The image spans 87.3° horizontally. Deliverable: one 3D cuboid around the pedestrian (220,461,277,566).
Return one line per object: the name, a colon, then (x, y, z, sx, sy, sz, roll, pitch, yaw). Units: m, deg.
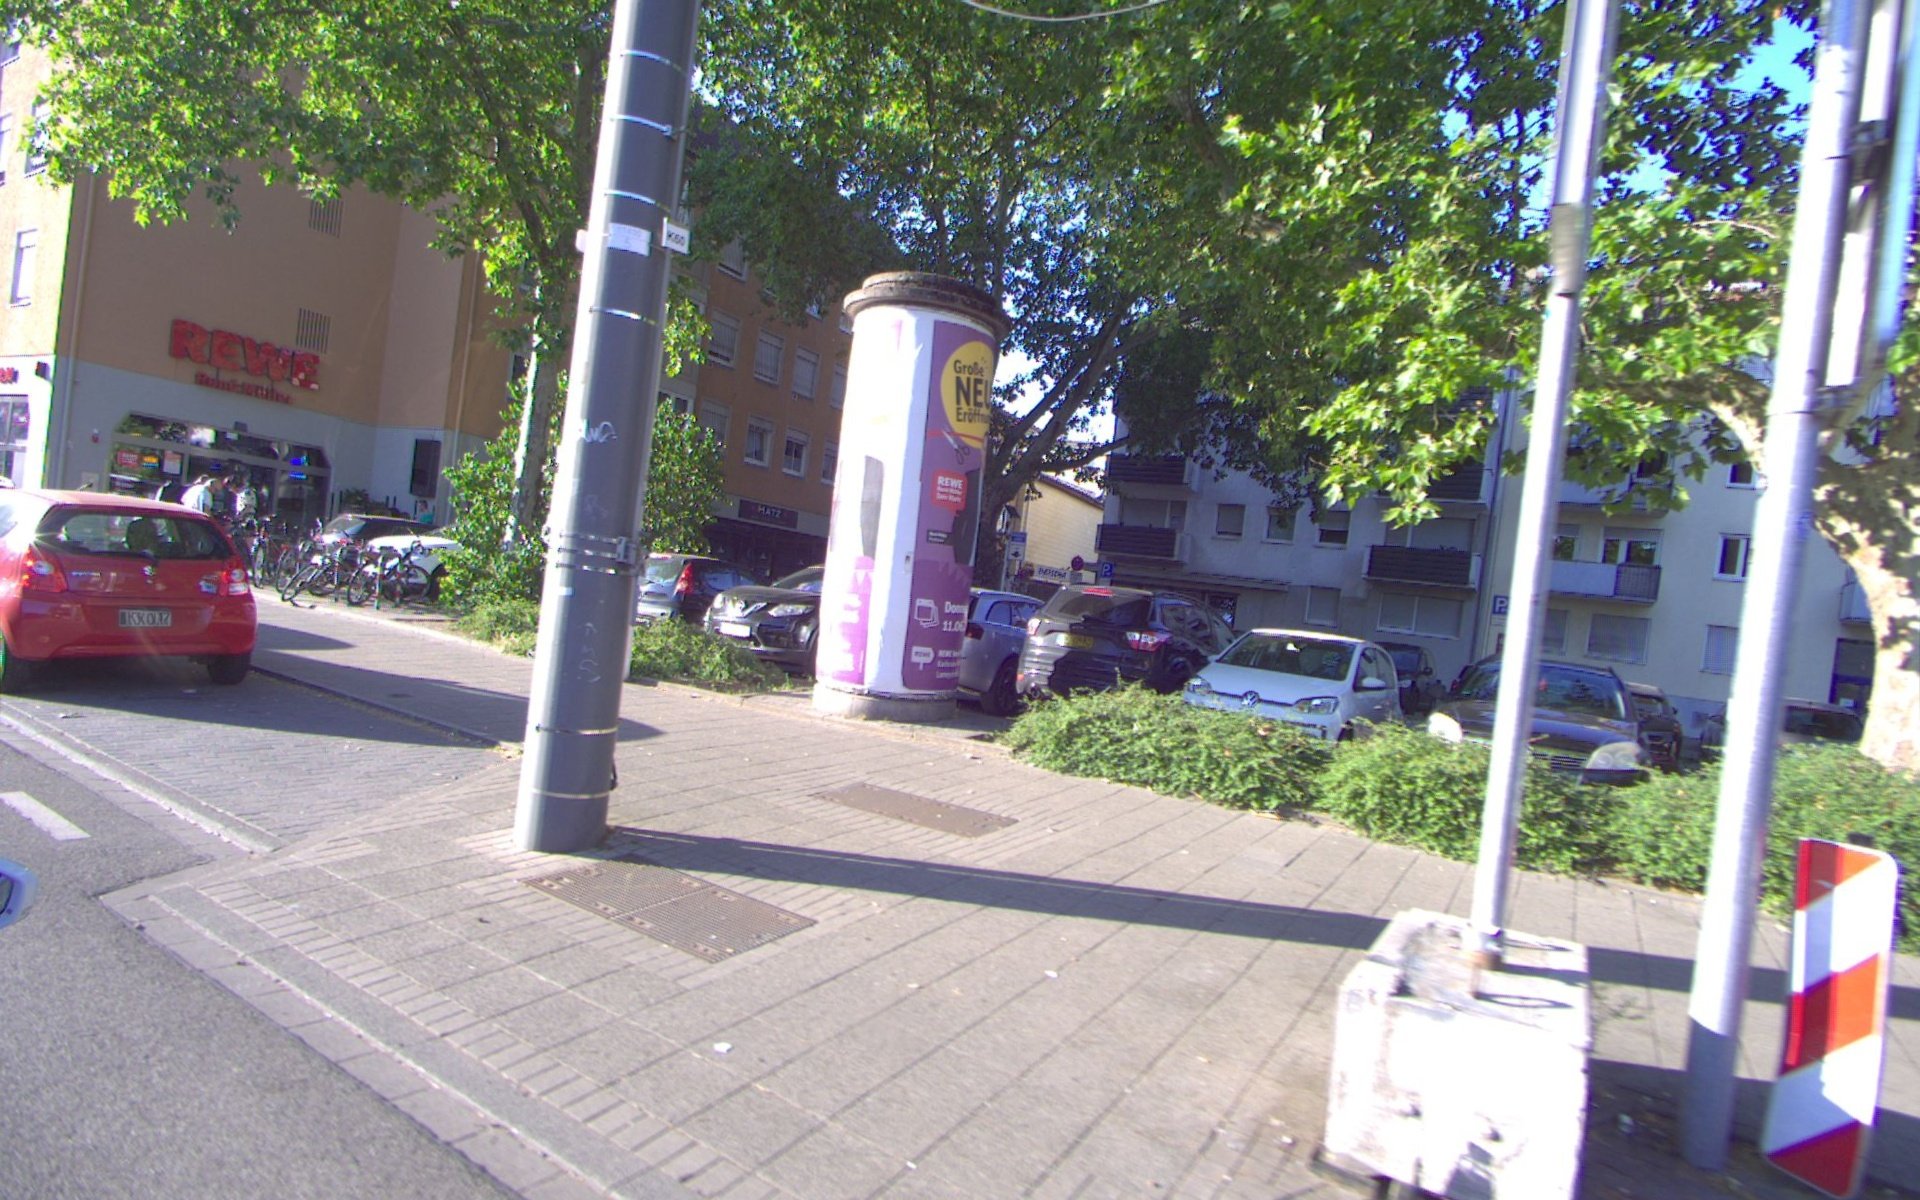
pedestrian: (-12.858, -1.547, 18.178, 0.639, 1.807, 0.528, 8, 5, 25)

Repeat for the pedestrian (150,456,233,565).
pedestrian: (-12.632, -1.470, 16.533, 0.972, 1.659, 0.659, 8, 5, 25)

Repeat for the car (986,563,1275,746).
car: (2.187, 0.714, 11.954, 1.826, 1.650, 3.846, 7, -2, 34)

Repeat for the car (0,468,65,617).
car: (-12.196, -0.847, 11.484, 4.574, 1.552, 1.697, 7, 3, 31)

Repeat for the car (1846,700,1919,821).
car: (15.772, 2.596, 15.613, 1.966, 1.712, 4.289, 7, 0, 29)

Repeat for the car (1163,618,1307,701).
car: (6.505, 1.409, 23.469, 1.967, 1.553, 4.053, 7, 0, 33)

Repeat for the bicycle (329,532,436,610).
bicycle: (-8.574, -0.421, 15.015, 0.640, 1.026, 1.678, 7, 0, -5)

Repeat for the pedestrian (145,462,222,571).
pedestrian: (-13.564, -1.448, 17.581, 0.756, 1.776, 0.805, 9, 5, 33)

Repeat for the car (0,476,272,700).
car: (-7.589, -0.225, 8.500, 3.566, 1.514, 1.570, 7, 2, 32)

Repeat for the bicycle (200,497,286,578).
bicycle: (-11.921, -1.009, 16.769, 0.396, 1.242, 1.518, 7, 1, -7)

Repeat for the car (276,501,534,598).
car: (-10.976, -0.952, 20.177, 1.967, 1.449, 4.018, 4, -2, 32)

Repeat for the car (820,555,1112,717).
car: (0.239, 0.554, 12.989, 1.826, 1.511, 3.848, 7, -3, 34)

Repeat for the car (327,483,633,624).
car: (-8.648, -0.759, 18.595, 1.967, 1.728, 4.629, 7, -3, 32)

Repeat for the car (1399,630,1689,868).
car: (5.541, 1.229, 9.449, 1.773, 1.514, 4.114, 7, 0, 34)

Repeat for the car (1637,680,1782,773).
car: (15.797, 2.597, 21.409, 1.786, 1.514, 3.877, 7, 0, 29)

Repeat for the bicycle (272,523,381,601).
bicycle: (-9.410, -0.541, 15.006, 0.640, 1.026, 1.581, 7, 1, -5)

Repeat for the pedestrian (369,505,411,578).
pedestrian: (-13.032, -1.320, 23.017, 0.413, 1.588, 0.638, 7, 1, 3)

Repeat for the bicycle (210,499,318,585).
bicycle: (-11.270, -0.908, 16.355, 0.639, 1.242, 1.581, 7, 1, -5)

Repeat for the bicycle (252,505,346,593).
bicycle: (-10.352, -0.780, 15.823, 0.637, 1.242, 1.578, 6, 1, -14)

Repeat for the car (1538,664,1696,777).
car: (11.903, 2.113, 18.503, 1.966, 1.553, 4.288, 7, 0, 29)

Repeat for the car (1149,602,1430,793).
car: (3.708, 1.059, 10.855, 1.773, 1.453, 3.846, 9, -1, 34)

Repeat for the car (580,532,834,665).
car: (-3.836, 0.047, 15.784, 1.744, 1.499, 3.506, 8, -3, 31)

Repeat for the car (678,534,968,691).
car: (-1.788, 0.274, 14.441, 1.825, 1.618, 4.032, 8, -3, 31)

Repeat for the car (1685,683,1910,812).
car: (13.864, 2.342, 16.973, 1.966, 1.553, 4.289, 7, 0, 29)

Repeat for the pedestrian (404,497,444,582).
pedestrian: (-12.399, -1.386, 23.274, 0.466, 1.906, 0.574, 6, 1, -8)
